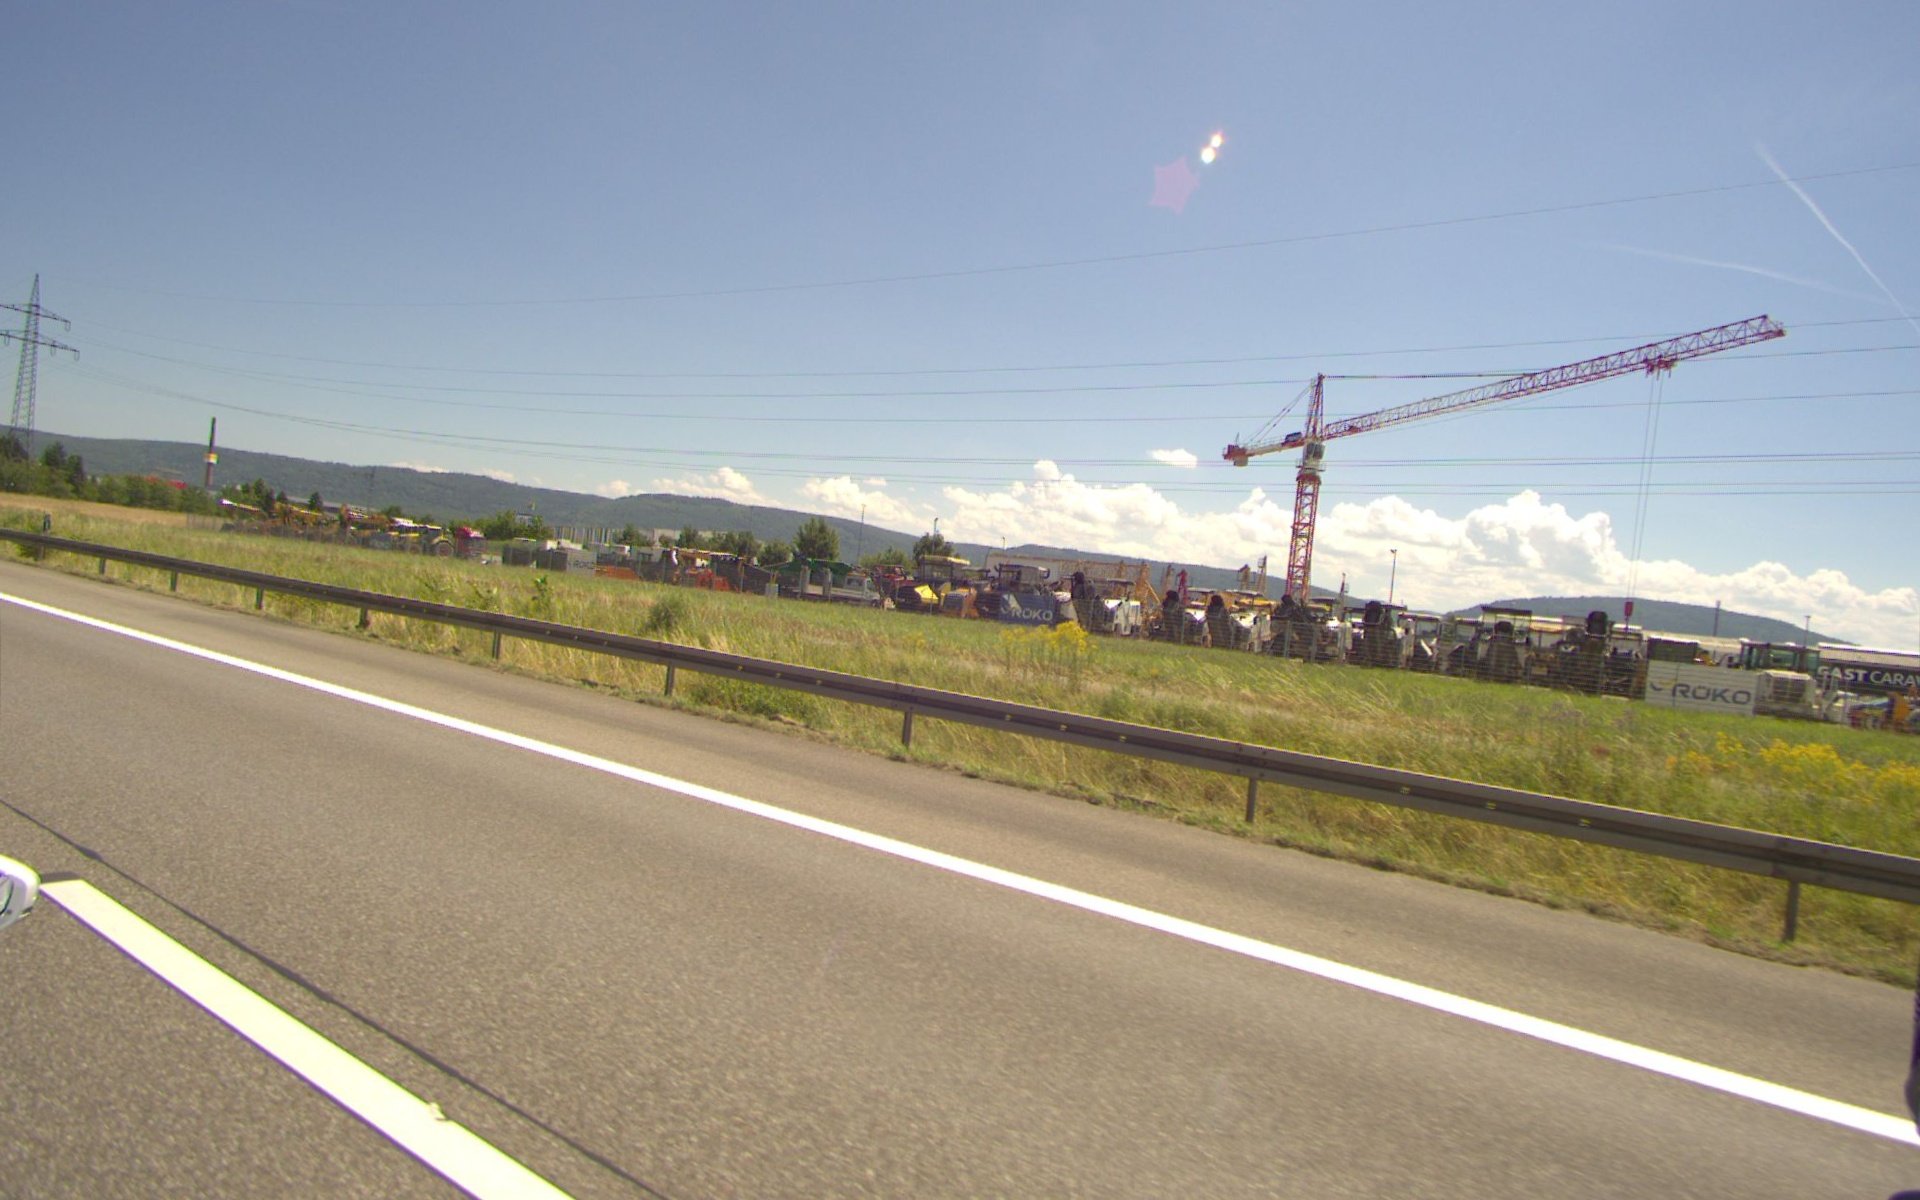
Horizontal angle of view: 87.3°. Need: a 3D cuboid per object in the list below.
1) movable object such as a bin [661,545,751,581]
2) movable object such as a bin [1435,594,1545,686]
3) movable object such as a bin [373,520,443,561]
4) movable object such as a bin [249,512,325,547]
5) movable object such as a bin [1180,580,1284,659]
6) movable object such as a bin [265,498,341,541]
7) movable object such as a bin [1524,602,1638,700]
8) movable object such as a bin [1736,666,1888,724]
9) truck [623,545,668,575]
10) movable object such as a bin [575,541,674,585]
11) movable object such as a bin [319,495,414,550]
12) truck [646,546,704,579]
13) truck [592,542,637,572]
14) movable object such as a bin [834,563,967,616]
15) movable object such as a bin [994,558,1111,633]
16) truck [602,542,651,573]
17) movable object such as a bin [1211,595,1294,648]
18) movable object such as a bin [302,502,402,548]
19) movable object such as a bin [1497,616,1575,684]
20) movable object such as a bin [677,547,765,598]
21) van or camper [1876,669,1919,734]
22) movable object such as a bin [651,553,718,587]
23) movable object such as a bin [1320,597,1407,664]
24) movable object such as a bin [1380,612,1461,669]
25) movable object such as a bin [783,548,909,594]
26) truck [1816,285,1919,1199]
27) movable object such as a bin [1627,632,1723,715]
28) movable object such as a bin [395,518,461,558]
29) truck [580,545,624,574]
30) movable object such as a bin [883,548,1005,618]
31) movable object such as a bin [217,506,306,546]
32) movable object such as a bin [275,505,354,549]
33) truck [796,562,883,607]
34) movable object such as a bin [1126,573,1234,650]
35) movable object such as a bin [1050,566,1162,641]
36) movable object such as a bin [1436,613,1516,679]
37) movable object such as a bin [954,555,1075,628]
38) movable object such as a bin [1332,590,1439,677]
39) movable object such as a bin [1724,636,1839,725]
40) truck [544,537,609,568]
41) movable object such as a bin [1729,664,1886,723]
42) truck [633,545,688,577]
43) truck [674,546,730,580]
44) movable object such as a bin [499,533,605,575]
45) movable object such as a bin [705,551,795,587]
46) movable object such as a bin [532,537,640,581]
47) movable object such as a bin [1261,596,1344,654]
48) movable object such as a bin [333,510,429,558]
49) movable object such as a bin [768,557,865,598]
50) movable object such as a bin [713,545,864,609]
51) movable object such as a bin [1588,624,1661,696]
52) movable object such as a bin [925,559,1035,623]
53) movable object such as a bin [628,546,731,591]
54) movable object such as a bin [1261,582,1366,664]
[{"bbox_3d":[-25.727,-3.702,102.070,8.357,2.723,2.714,6,1,-35],"label":"movable object such as a bin"},{"bbox_3d":[25.593,1.993,48.249,2.931,3.737,9.710,7,1,36],"label":"movable object such as a bin"},{"bbox_3d":[-54.007,-5.847,98.512,2.747,3.335,5.250,7,1,39],"label":"movable object such as a bin"},{"bbox_3d":[-73.387,-7.663,109.813,2.239,2.917,6.341,7,1,37],"label":"movable object such as a bin"},{"bbox_3d":[15.200,1.193,55.506,2.634,3.737,9.723,7,1,31],"label":"movable object such as a bin"},{"bbox_3d":[-70.482,-8.619,108.031,2.239,3.780,6.341,7,1,37],"label":"movable object such as a bin"},{"bbox_3d":[28.615,2.346,46.084,3.366,3.737,9.710,7,1,36],"label":"movable object such as a bin"},{"bbox_3d":[53.639,5.922,63.607,6.695,2.587,2.914,6,1,32],"label":"movable object such as a bin"},{"bbox_3d":[-40.247,-5.046,128.937,2.798,3.248,5.334,6,0,17],"label":"truck"},{"bbox_3d":[-27.008,-2.939,81.033,6.838,2.723,3.146,5,1,-36],"label":"movable object such as a bin"},{"bbox_3d":[-60.381,-7.811,102.554,3.057,4.586,7.508,7,1,39],"label":"movable object such as a bin"},{"bbox_3d":[-34.465,-4.538,121.916,3.191,3.297,6.358,6,0,24],"label":"truck"},{"bbox_3d":[-47.669,-5.912,138.857,2.720,3.461,5.719,6,0,17],"label":"truck"},{"bbox_3d":[-5.308,-0.923,91.128,11.580,3.657,2.952,6,1,-27],"label":"movable object such as a bin"},{"bbox_3d":[5.737,-0.114,60.087,2.354,3.737,10.260,7,1,31],"label":"movable object such as a bin"},{"bbox_3d":[-44.751,-5.635,135.132,3.150,3.461,5.719,6,0,17],"label":"truck"},{"bbox_3d":[20.935,1.586,71.654,2.877,3.190,7.975,7,1,36],"label":"movable object such as a bin"},{"bbox_3d":[-63.302,-7.778,104.921,3.288,3.780,8.176,7,1,39],"label":"movable object such as a bin"},{"bbox_3d":[35.671,3.146,62.095,2.877,3.617,9.038,7,1,36],"label":"movable object such as a bin"},{"bbox_3d":[-17.968,-2.031,75.839,5.808,3.238,2.490,5,1,-44],"label":"movable object such as a bin"},{"bbox_3d":[40.411,4.284,40.780,3.109,2.553,9.317,7,0,33],"label":"van or camper"},{"bbox_3d":[-29.334,-3.192,107.210,6.325,2.916,2.245,6,1,-44],"label":"movable object such as a bin"},{"bbox_3d":[27.333,2.135,67.871,3.087,3.886,8.742,7,1,36],"label":"movable object such as a bin"},{"bbox_3d":[30.172,2.708,65.655,2.877,3.189,8.684,7,1,36],"label":"movable object such as a bin"},{"bbox_3d":[-10.347,-2.601,92.150,11.107,2.984,2.981,6,1,-33],"label":"movable object such as a bin"},{"bbox_3d":[5.512,0.153,1.066,6.286,4.119,2.578,7,-1,31],"label":"truck"},{"bbox_3d":[31.801,3.220,44.595,2.911,3.045,8.722,7,1,37],"label":"movable object such as a bin"},{"bbox_3d":[-50.418,-5.859,95.389,2.264,3.238,4.808,7,1,39],"label":"movable object such as a bin"},{"bbox_3d":[-50.986,-5.787,143.356,2.858,3.461,5.719,6,0,17],"label":"truck"},{"bbox_3d":[-0.821,-0.999,65.562,2.620,3.737,10.260,7,1,31],"label":"movable object such as a bin"},{"bbox_3d":[-76.976,-8.145,111.008,2.239,3.446,7.539,7,1,37],"label":"movable object such as a bin"},{"bbox_3d":[-67.818,-7.645,105.796,2.457,3.780,6.341,7,1,37],"label":"movable object such as a bin"},{"bbox_3d":[-8.196,-1.060,68.910,2.617,2.495,5.540,7,1,38],"label":"truck"},{"bbox_3d":[12.662,0.789,57.085,2.634,3.737,9.723,7,1,31],"label":"movable object such as a bin"},{"bbox_3d":[8.815,0.327,59.525,2.634,3.737,9.723,7,1,31],"label":"movable object such as a bin"},{"bbox_3d":[32.814,2.975,63.737,2.877,3.617,9.038,7,1,36],"label":"movable object such as a bin"},{"bbox_3d":[3.592,-0.401,61.911,2.620,3.737,10.260,7,1,31],"label":"movable object such as a bin"},{"bbox_3d":[21.619,1.764,50.736,2.928,3.737,9.718,7,1,33],"label":"movable object such as a bin"},{"bbox_3d":[34.600,3.353,42.553,3.167,3.045,8.718,7,1,38],"label":"movable object such as a bin"},{"bbox_3d":[-45.402,-5.614,119.301,3.294,2.857,6.344,6,0,34],"label":"truck"},{"bbox_3d":[51.053,5.579,60.879,6.695,2.587,2.914,6,1,32],"label":"movable object such as a bin"},{"bbox_3d":[-37.367,-4.815,125.725,3.284,3.297,6.362,6,0,19],"label":"truck"},{"bbox_3d":[-29.534,-4.220,115.584,2.868,3.189,6.361,6,0,21],"label":"truck"},{"bbox_3d":[-34.895,-3.916,86.167,7.779,2.723,3.147,6,1,-35],"label":"movable object such as a bin"},{"bbox_3d":[-21.061,-3.061,101.250,8.357,2.723,2.580,6,1,-35],"label":"movable object such as a bin"},{"bbox_3d":[-31.027,-3.391,83.556,7.779,2.723,3.147,6,1,-35],"label":"movable object such as a bin"},{"bbox_3d":[23.898,1.812,69.979,2.877,3.468,8.182,7,1,36],"label":"movable object such as a bin"},{"bbox_3d":[-57.572,-6.510,100.188,3.057,3.832,7.508,7,1,39],"label":"movable object such as a bin"},{"bbox_3d":[-13.351,-2.075,94.055,8.357,2.984,2.881,6,1,-35],"label":"movable object such as a bin"},{"bbox_3d":[-11.991,-1.548,71.262,10.181,3.459,2.499,6,1,-33],"label":"movable object such as a bin"},{"bbox_3d":[39.103,3.526,59.048,2.877,3.617,9.038,7,1,36],"label":"movable object such as a bin"},{"bbox_3d":[1.443,-0.473,63.941,2.490,3.351,9.110,7,1,31],"label":"movable object such as a bin"},{"bbox_3d":[-21.611,-2.411,77.723,6.856,2.723,3.138,5,1,-44],"label":"movable object such as a bin"},{"bbox_3d":[18.714,1.327,52.767,2.591,3.737,9.718,7,1,33],"label":"movable object such as a bin"}]
